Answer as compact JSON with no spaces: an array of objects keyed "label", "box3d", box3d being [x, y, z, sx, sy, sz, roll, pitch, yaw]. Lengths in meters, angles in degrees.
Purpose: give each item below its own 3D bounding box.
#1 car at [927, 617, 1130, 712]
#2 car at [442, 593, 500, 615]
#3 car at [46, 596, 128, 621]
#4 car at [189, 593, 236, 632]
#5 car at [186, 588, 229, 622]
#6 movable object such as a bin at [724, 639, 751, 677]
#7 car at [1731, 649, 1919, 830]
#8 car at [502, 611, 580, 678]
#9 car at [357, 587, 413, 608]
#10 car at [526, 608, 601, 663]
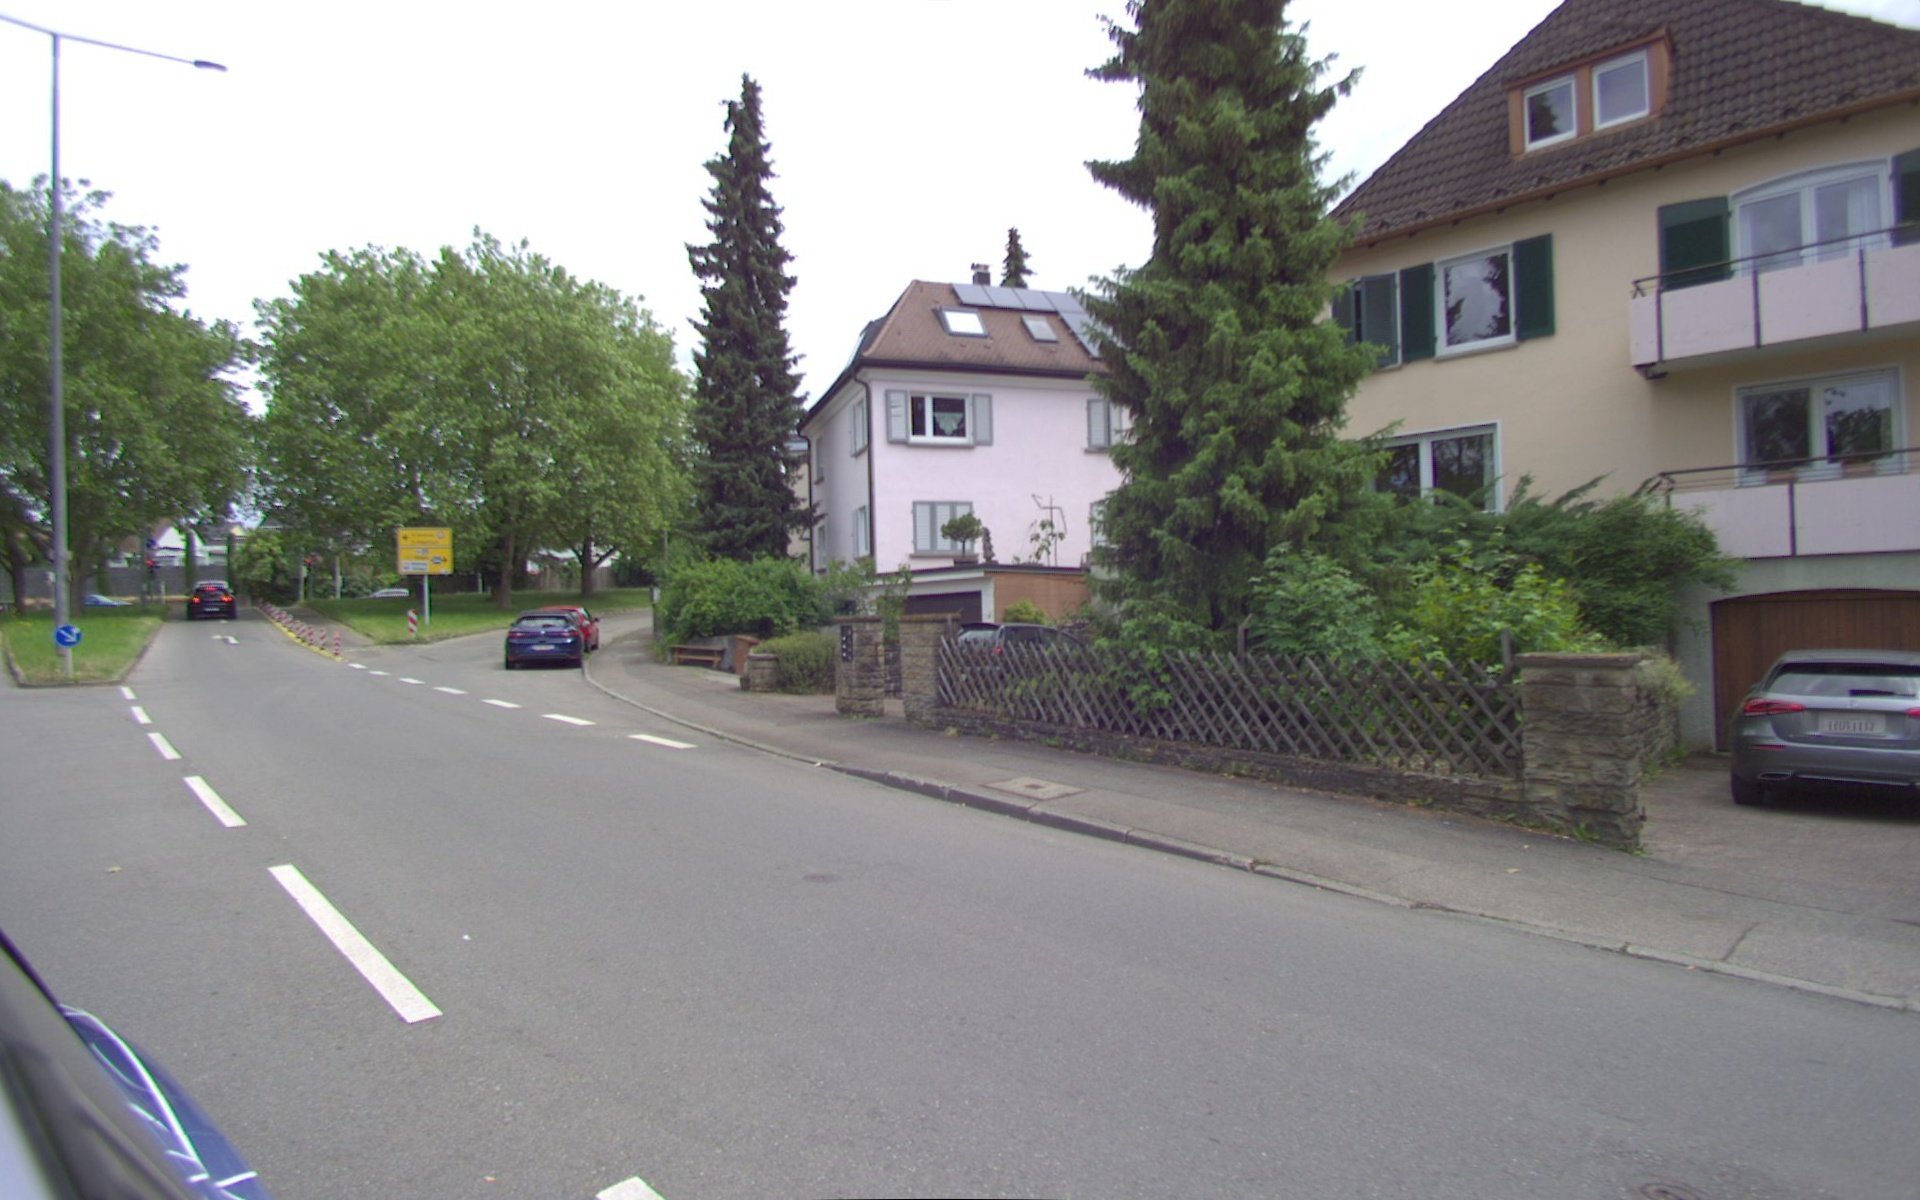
[{"label":"car","box3d":[1.294,1.206,18.535,3.311,1.549,1.832,5,-6,-38]},{"label":"car","box3d":[-36.143,0.325,74.878,3.585,1.535,1.655,1,-2,-16]},{"label":"car","box3d":[-61.042,0.614,70.820,4.083,1.440,1.800,-3,-3,-6]},{"label":"car","box3d":[-36.623,0.564,49.594,1.734,1.603,4.624,-2,3,-36]},{"label":"car","box3d":[-42.503,0.307,57.196,1.827,1.671,4.917,-2,-1,-37]},{"label":"movable object such as a bin","box3d":[-5.174,1.337,23.528,0.588,0.841,0.313,-1,0,43]},{"label":"car","box3d":[8.717,1.189,9.383,3.509,1.431,1.832,3,-5,-42]},{"label":"car","box3d":[-10.867,1.093,26.476,1.703,1.485,4.329,-1,1,-20]},{"label":"car","box3d":[-45.571,-0.190,80.240,3.585,1.541,1.655,-1,-1,-16]},{"label":"car","box3d":[-12.312,1.037,31.624,1.703,1.485,4.291,-1,1,-15]}]
